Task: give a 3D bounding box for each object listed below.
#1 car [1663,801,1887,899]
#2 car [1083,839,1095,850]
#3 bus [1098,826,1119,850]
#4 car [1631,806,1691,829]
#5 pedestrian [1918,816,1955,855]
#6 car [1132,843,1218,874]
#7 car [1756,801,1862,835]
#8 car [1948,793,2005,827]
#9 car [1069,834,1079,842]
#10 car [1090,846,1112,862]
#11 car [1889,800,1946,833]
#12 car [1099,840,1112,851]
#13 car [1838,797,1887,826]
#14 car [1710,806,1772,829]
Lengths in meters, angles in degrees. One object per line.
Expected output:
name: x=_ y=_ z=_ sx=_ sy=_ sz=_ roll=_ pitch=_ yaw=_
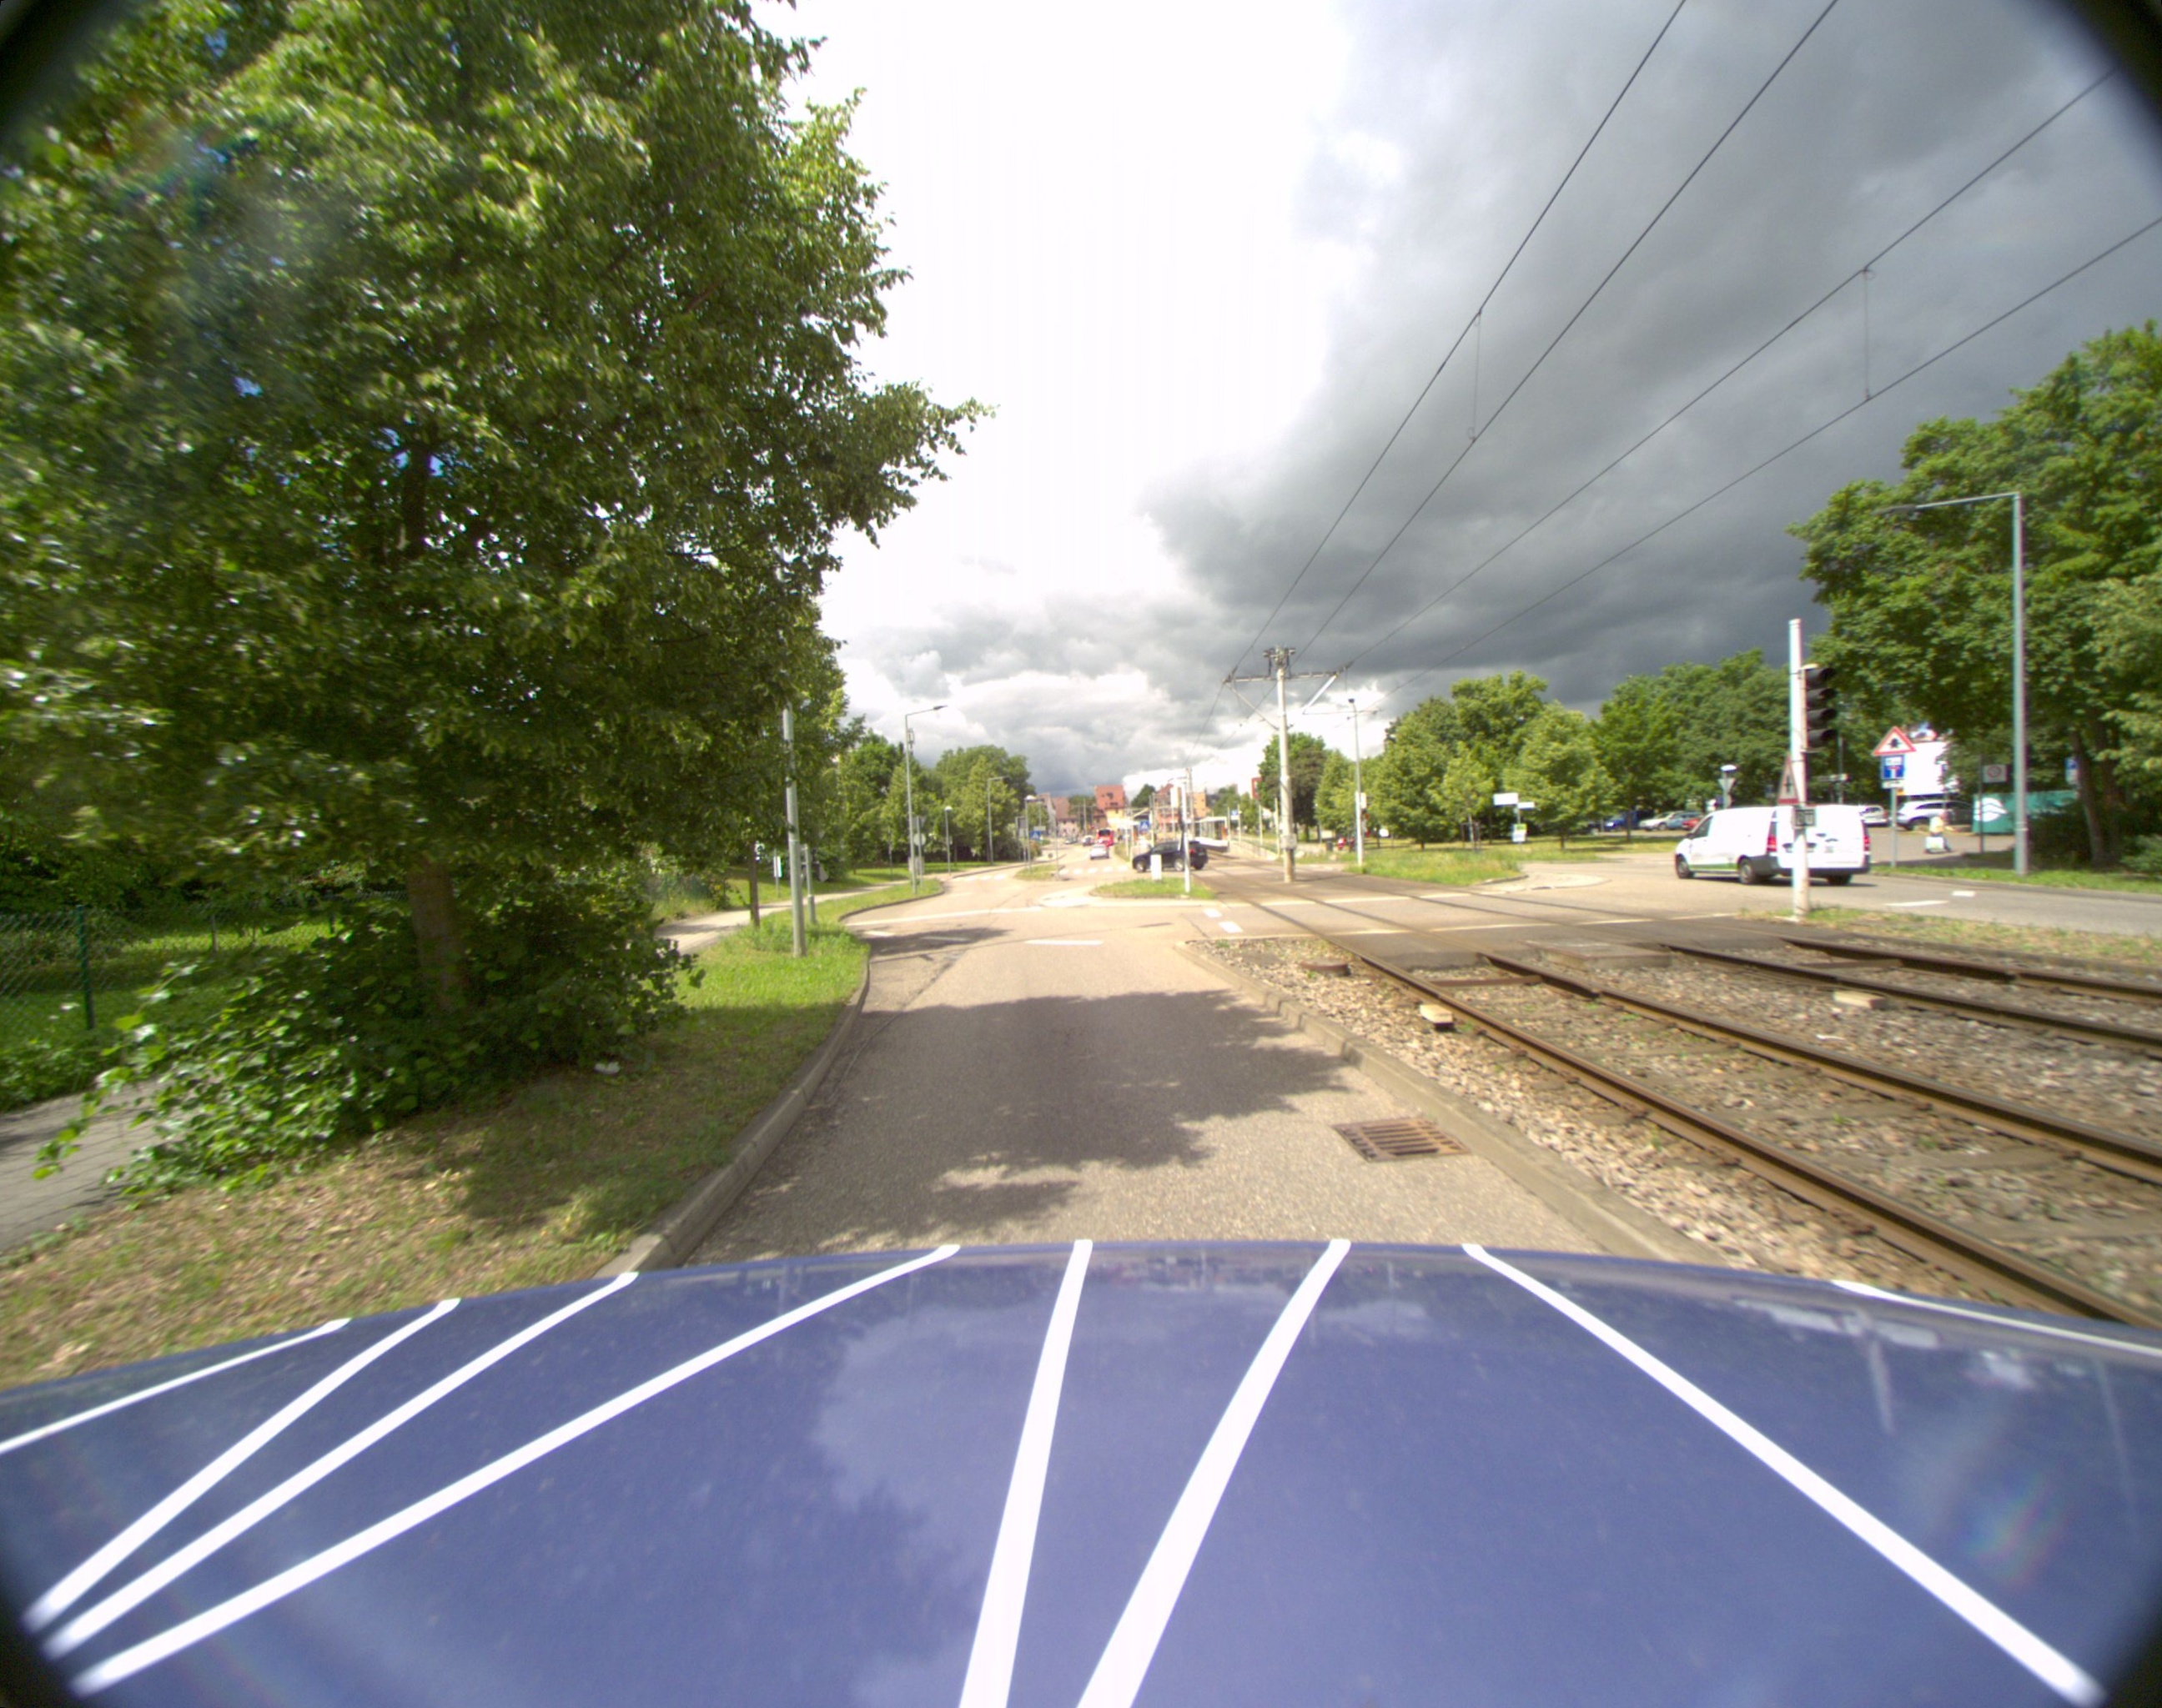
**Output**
car: x=16.952 y=-0.196 z=18.997 sx=1.878 sy=2.007 sz=5.238 roll=-4 pitch=2 yaw=15
car: x=1.531 y=-1.863 z=143.057 sx=1.850 sy=1.916 sz=3.777 roll=-3 pitch=1 yaw=3
bus: x=4.998 y=-2.844 z=135.921 sx=2.922 sy=3.864 sz=10.380 roll=-3 pitch=1 yaw=5
car: x=47.733 y=-2.990 z=62.647 sx=1.593 sy=1.631 sz=3.901 roll=-5 pitch=2 yaw=-8
pedestrian: x=33.854 y=-0.741 z=30.068 sx=0.898 sy=1.449 sz=0.749 roll=-5 pitch=2 yaw=-29
car: x=5.093 y=0.251 z=41.556 sx=4.313 sy=1.576 sz=1.863 roll=-1 pitch=1 yaw=43
car: x=40.572 y=-1.970 z=42.494 sx=1.741 sy=1.680 sz=4.350 roll=-4 pitch=2 yaw=1
car: x=49.490 y=-2.430 z=41.976 sx=3.590 sy=1.581 sz=1.994 roll=-7 pitch=4 yaw=-39
car: x=-1.524 y=-3.707 z=177.894 sx=1.998 sy=1.849 sz=4.000 roll=-3 pitch=1 yaw=3
car: x=1.967 y=-0.025 z=74.784 sx=1.939 sy=1.374 sz=4.661 roll=-4 pitch=2 yaw=3
car: x=47.904 y=-2.153 z=43.476 sx=3.590 sy=1.581 sz=1.994 roll=-7 pitch=4 yaw=-39
car: x=3.551 y=-1.238 z=109.416 sx=1.738 sy=1.501 sz=3.514 roll=-4 pitch=2 yaw=4
car: x=50.328 y=-2.762 z=48.979 sx=1.994 sy=1.674 sz=4.007 roll=-2 pitch=1 yaw=43
car: x=49.149 y=-2.718 z=56.568 sx=3.620 sy=1.581 sz=1.627 roll=-2 pitch=1 yaw=-12
